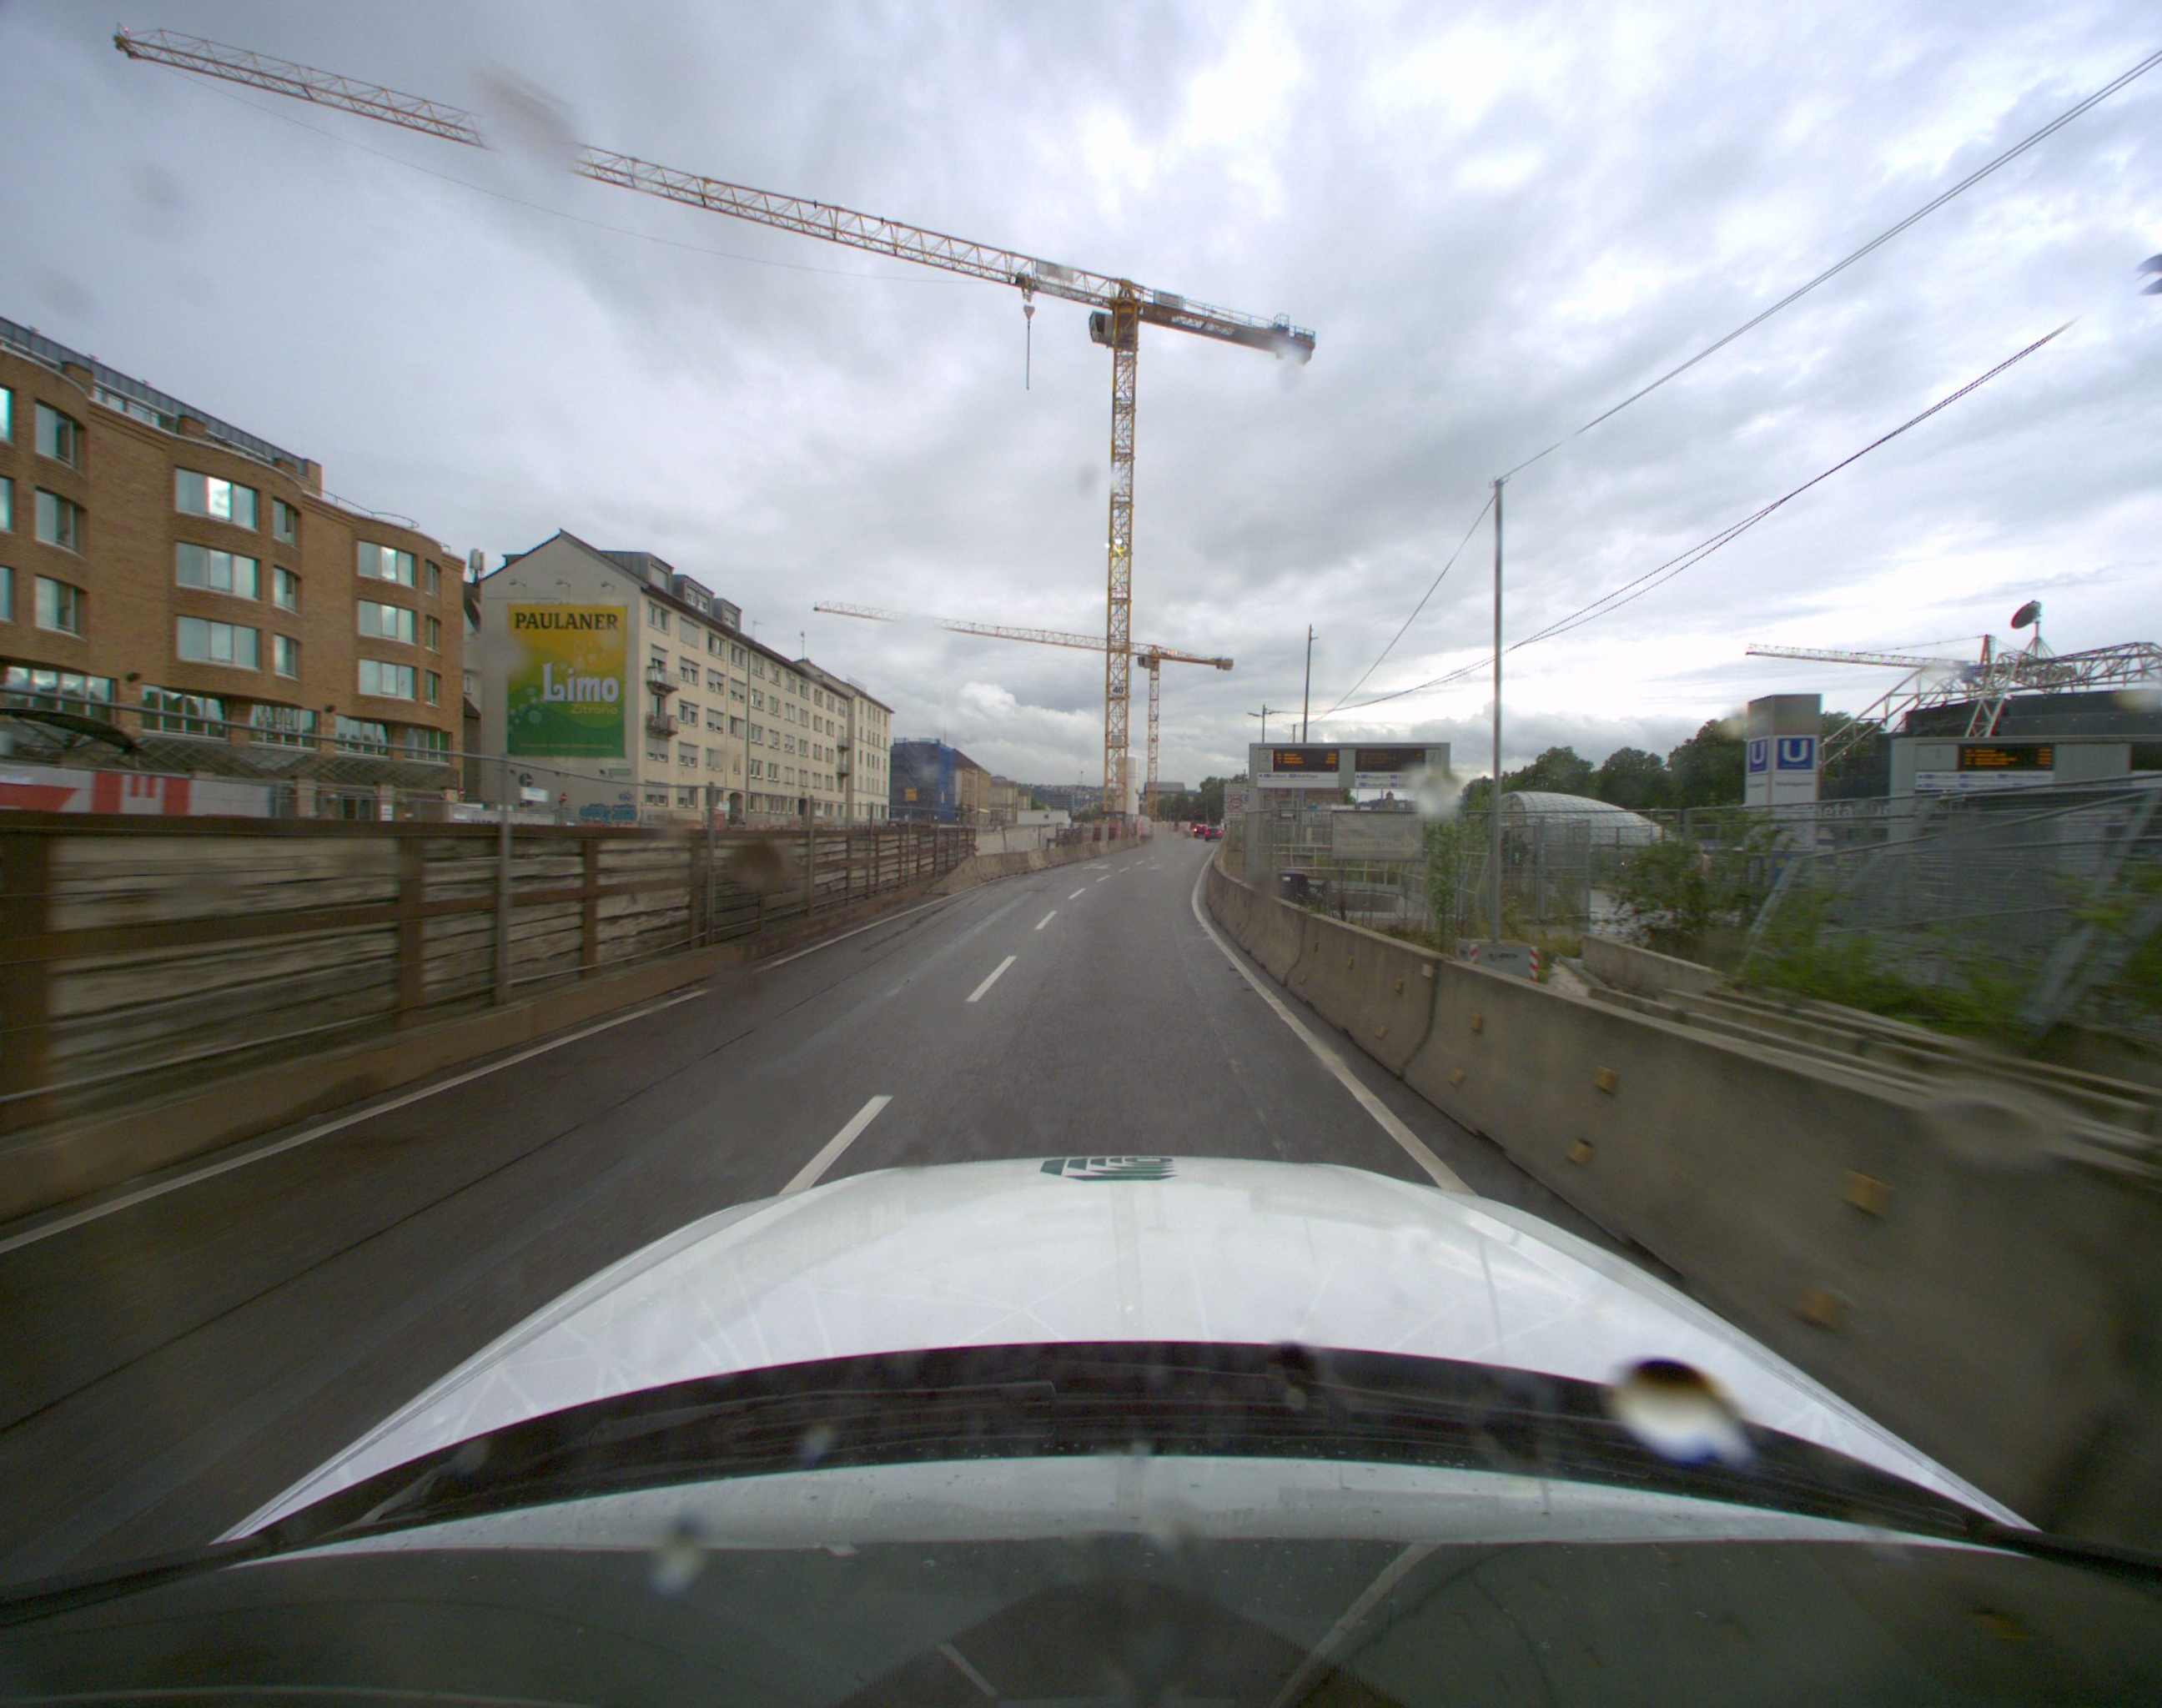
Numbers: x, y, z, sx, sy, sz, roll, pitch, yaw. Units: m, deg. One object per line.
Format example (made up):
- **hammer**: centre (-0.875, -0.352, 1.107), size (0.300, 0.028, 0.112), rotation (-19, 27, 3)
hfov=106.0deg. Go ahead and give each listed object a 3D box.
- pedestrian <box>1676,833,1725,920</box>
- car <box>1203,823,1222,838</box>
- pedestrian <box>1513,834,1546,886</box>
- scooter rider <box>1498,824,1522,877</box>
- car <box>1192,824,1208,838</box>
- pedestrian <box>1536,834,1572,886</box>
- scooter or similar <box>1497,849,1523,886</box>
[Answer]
- **pedestrian**: centre (13.041, 0.458, 17.155), size (0.683, 1.778, 0.820), rotation (0, 1, 28)
- **car**: centre (13.801, -2.472, 85.298), size (1.851, 1.433, 4.669), rotation (-1, 1, 10)
- **pedestrian**: centre (15.664, 0.203, 28.468), size (0.686, 1.778, 1.025), rotation (0, 1, 7)
- **scooter rider**: centre (14.341, -0.119, 27.250), size (0.517, 1.755, 0.702), rotation (0, 2, 12)
- **car**: centre (15.282, -2.981, 104.327), size (1.851, 1.660, 4.670), rotation (2, 2, 10)
- **pedestrian**: centre (16.434, 0.206, 28.328), size (0.722, 1.778, 1.024), rotation (0, 1, 6)
- **scooter or similar**: centre (14.340, 0.445, 27.270), size (0.487, 1.179, 1.100), rotation (0, 2, 12)
